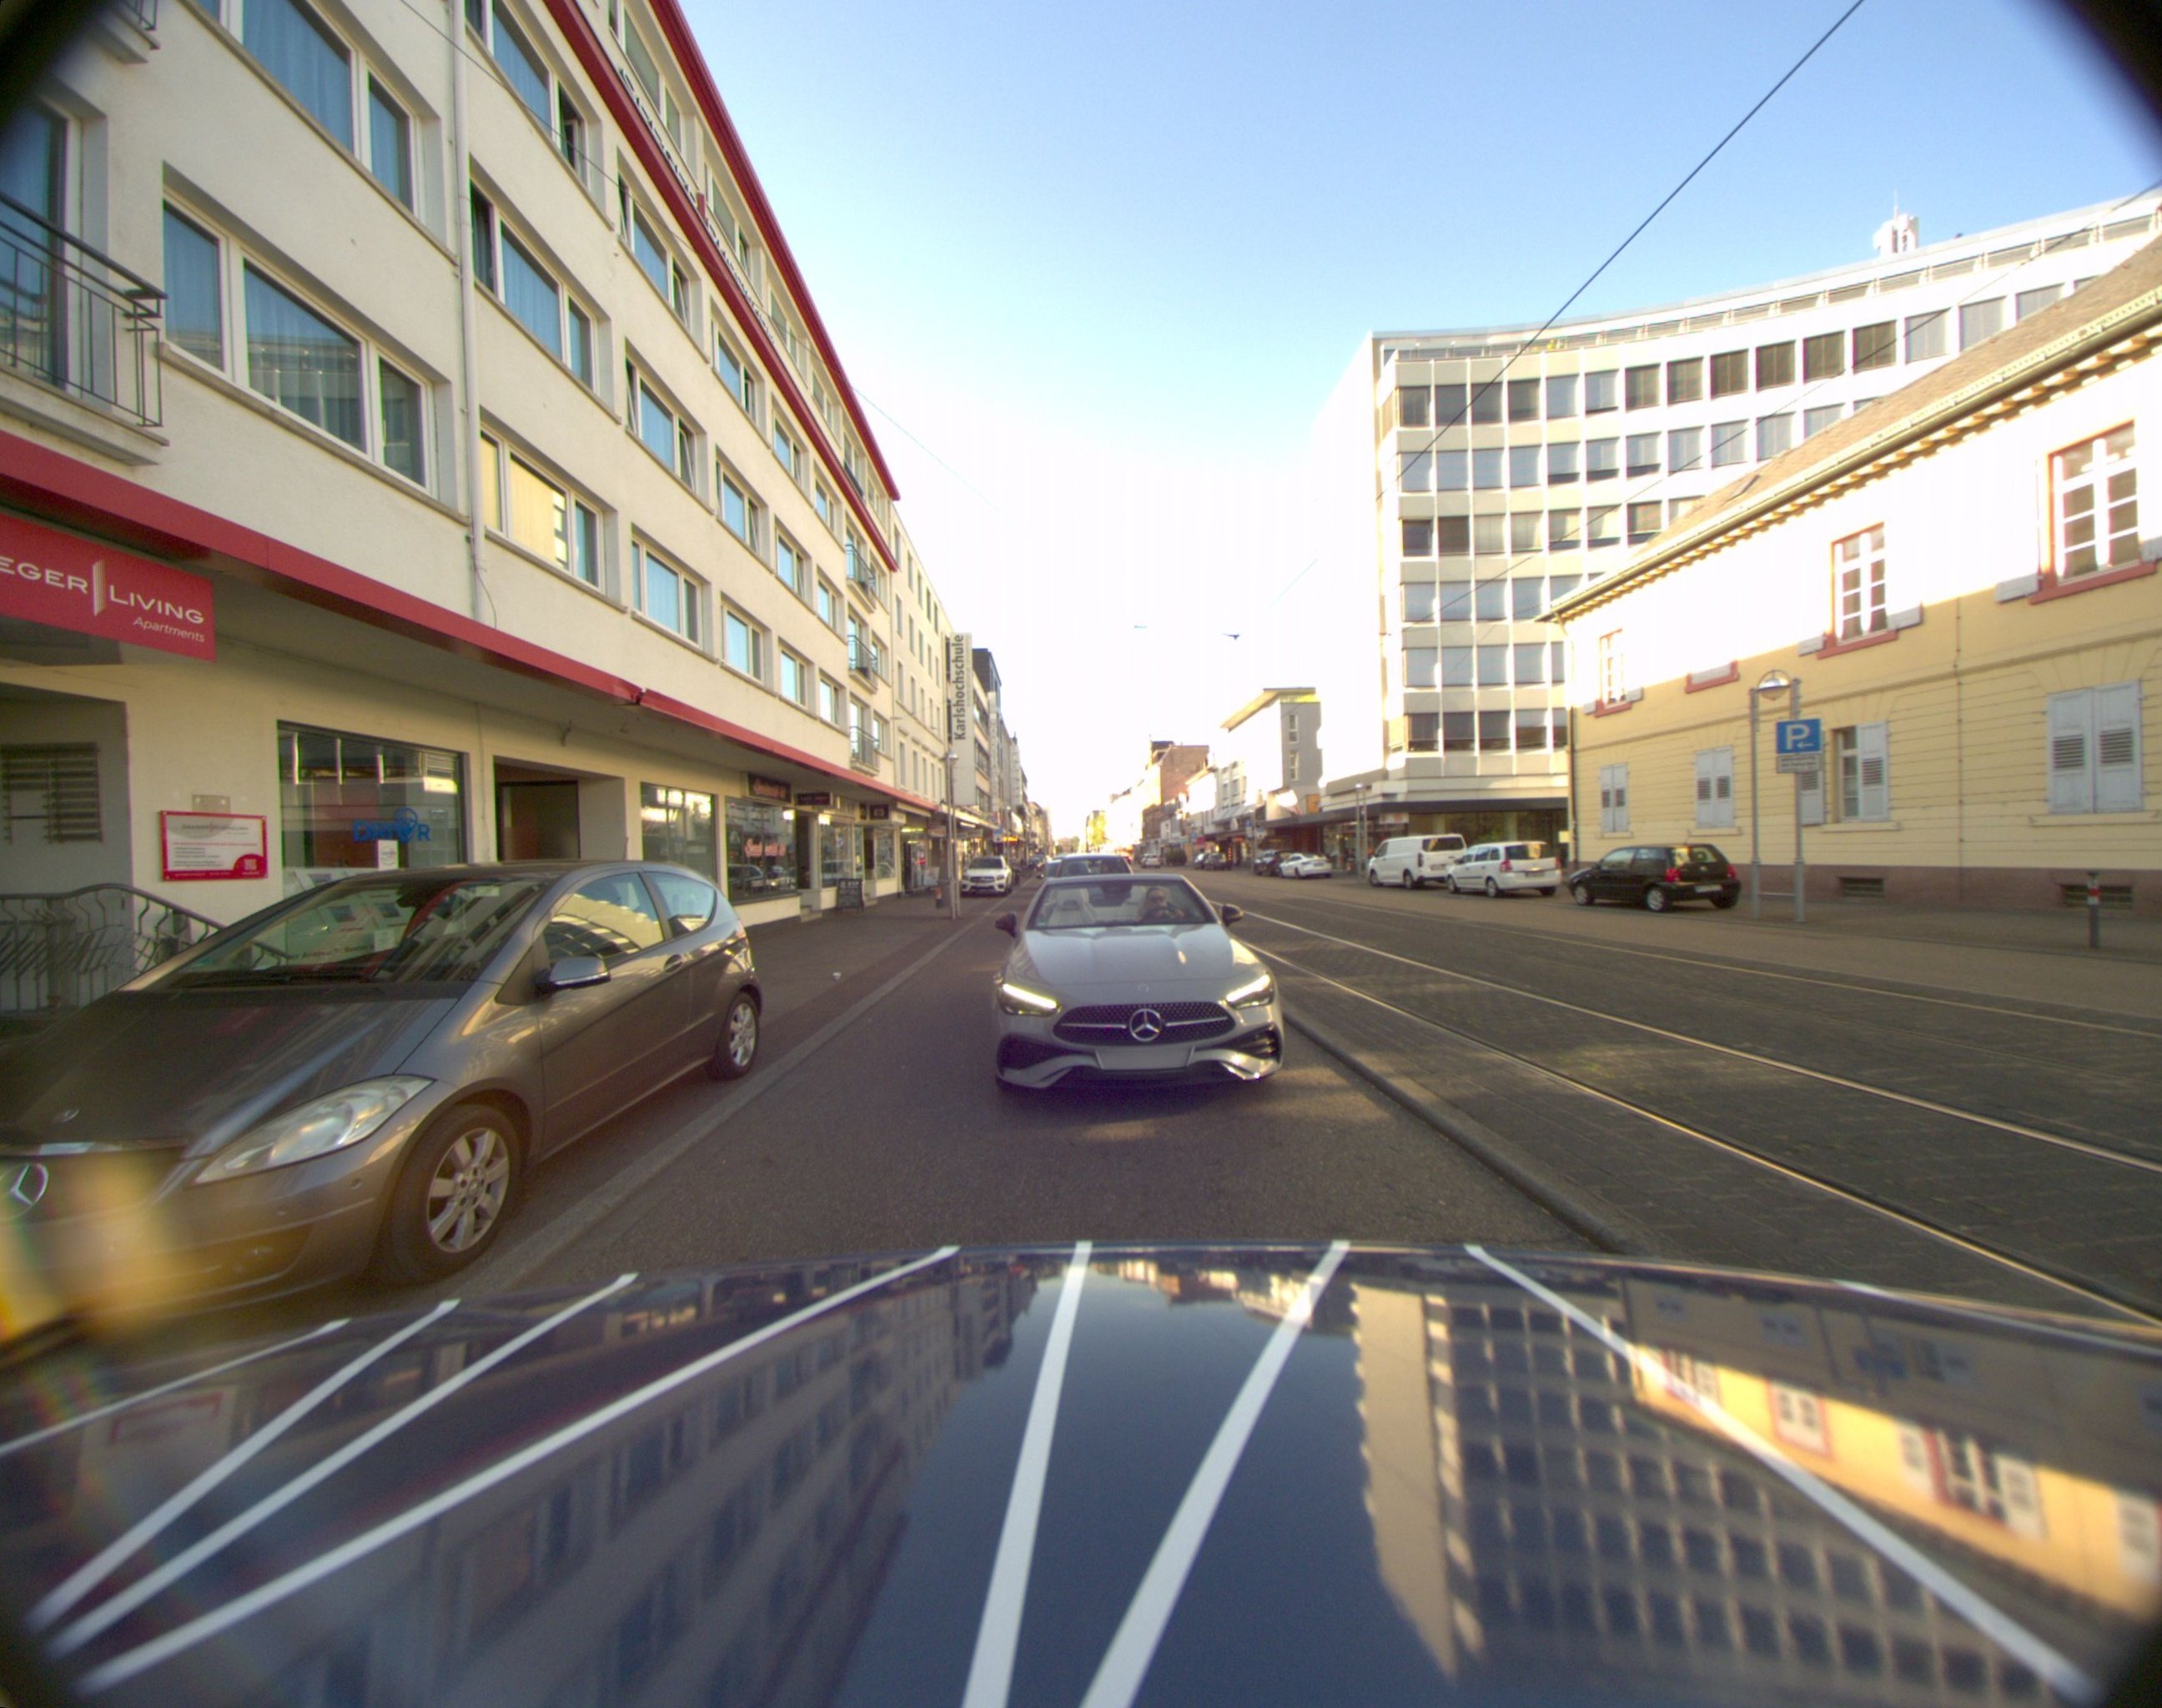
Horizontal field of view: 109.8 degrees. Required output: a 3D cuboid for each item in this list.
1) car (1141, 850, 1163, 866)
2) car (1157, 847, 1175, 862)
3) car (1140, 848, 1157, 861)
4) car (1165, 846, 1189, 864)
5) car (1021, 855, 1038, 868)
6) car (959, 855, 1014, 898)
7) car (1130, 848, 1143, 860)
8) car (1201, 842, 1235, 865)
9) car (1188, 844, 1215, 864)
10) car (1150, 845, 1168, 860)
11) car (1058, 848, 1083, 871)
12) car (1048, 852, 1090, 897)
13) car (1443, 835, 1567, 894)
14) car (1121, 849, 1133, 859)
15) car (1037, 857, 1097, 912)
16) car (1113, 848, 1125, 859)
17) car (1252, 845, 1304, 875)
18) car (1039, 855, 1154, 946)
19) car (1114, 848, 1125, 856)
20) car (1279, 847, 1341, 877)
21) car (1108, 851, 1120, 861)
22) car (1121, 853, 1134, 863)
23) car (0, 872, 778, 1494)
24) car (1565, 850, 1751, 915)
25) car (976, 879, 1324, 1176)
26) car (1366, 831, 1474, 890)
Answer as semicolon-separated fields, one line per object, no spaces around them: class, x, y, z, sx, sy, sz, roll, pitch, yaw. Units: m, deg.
car;7.710;0.409;82.564;1.760;1.587;3.999;-1;0;-2
car;11.252;0.061;101.022;1.998;2.002;4.000;-1;0;1
car;10.799;0.014;121.768;1.999;2.002;5.320;-1;0;-2
car;11.347;0.166;90.278;2.200;2.030;3.999;-1;0;-1
car;-6.069;0.857;89.321;1.714;1.430;3.756;-2;1;-1
car;-3.853;0.886;31.716;1.999;1.620;3.998;-1;0;-4
car;9.810;0.001;134.846;1.998;2.002;4.000;-1;0;2
car;11.758;-0.032;65.619;1.999;1.849;3.998;-2;1;-2
car;11.731;-0.020;74.229;1.789;1.870;3.999;-1;0;-2
car;11.424;-0.258;111.437;1.999;2.002;3.998;-2;1;-2
car;-0.876;0.474;64.094;1.999;1.793;3.999;-2;1;-1
car;-0.520;0.805;31.908;1.573;1.670;3.688;-2;1;-1
car;12.754;0.267;23.137;1.641;1.600;4.005;-2;1;3
car;9.527;-0.052;157.317;1.999;2.002;3.999;-1;0;-2
car;-0.433;0.867;23.357;1.648;1.506;3.844;-2;0;-1
car;6.949;-0.112;139.881;1.914;1.883;3.855;-2;1;-2
car;12.321;0.359;47.683;1.999;1.694;4.107;-3;1;-2
car;0.177;0.834;15.538;1.927;1.533;3.998;-2;0;-4
car;8.985;-0.474;176.580;2.148;1.850;3.998;-2;1;-2
car;12.635;0.417;42.252;1.999;1.521;4.373;-2;1;-1
car;6.542;0.359;150.705;1.999;2.002;3.998;-2;1;-2
car;7.305;0.590;120.356;1.964;1.499;4.000;-2;1;4
car;-3.226;0.939;3.988;1.683;1.537;3.999;-2;0;-1
car;12.814;0.578;17.131;1.688;1.246;3.212;-2;1;-1
car;0.252;1.008;6.172;1.884;1.375;3.998;-2;1;-4
car;12.675;0.229;28.787;2.040;2.002;4.621;-1;0;1
